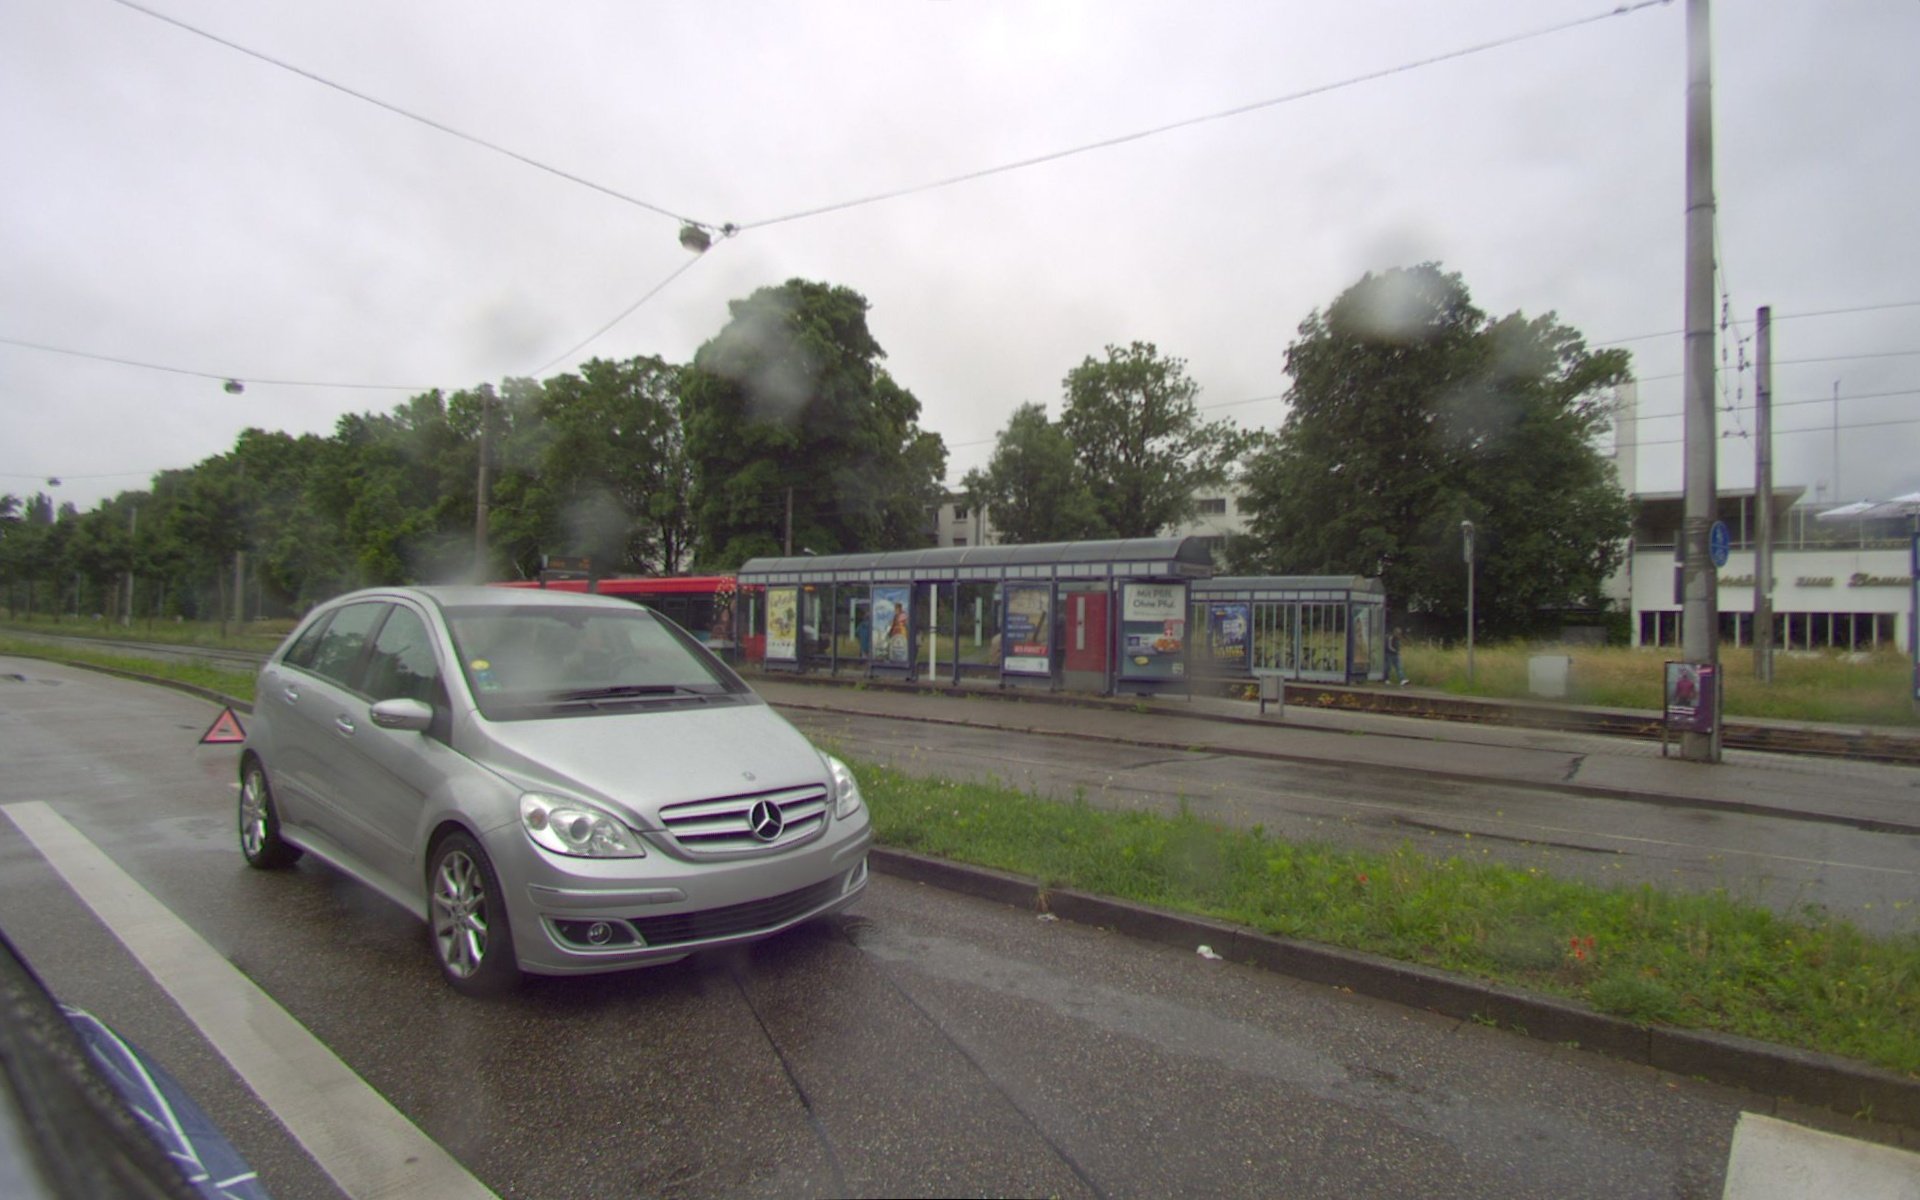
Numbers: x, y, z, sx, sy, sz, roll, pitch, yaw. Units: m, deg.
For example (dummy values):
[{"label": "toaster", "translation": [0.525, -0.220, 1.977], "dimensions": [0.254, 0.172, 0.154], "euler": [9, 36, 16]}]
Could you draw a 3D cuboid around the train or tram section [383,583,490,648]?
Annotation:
[{"label": "train or tram section", "translation": [-29.604, 0.909, 57.209], "dimensions": [5.768, 3.444, 3.495], "euler": [0, -3, 42]}]

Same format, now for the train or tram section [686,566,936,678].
[{"label": "train or tram section", "translation": [-5.428, 0.769, 35.369], "dimensions": [9.276, 3.415, 3.495], "euler": [0, -3, 42]}]

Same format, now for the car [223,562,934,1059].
[{"label": "car", "translation": [-2.178, 0.672, 5.160], "dimensions": [4.011, 1.556, 1.718], "euler": [0, -1, 41]}]

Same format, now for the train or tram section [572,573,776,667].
[{"label": "train or tram section", "translation": [-11.797, 0.808, 41.119], "dimensions": [9.276, 3.416, 3.495], "euler": [0, -3, 42]}]

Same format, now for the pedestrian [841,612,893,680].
[{"label": "pedestrian", "translation": [-2.234, 1.096, 24.341], "dimensions": [0.929, 1.609, 0.795], "euler": [0, -2, 44]}]

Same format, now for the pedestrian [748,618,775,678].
[{"label": "pedestrian", "translation": [-5.365, 1.281, 27.293], "dimensions": [0.514, 1.574, 0.603], "euler": [0, 0, -34]}]

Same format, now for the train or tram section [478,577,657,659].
[{"label": "train or tram section", "translation": [-18.464, 0.844, 47.151], "dimensions": [10.258, 3.427, 3.495], "euler": [0, -3, 42]}]

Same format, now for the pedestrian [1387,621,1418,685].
[{"label": "pedestrian", "translation": [12.710, 1.513, 29.078], "dimensions": [0.680, 1.806, 0.623], "euler": [0, 0, 40]}]

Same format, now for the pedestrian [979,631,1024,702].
[{"label": "pedestrian", "translation": [0.881, 1.397, 21.399], "dimensions": [0.699, 1.464, 0.618], "euler": [-1, -3, 43]}]

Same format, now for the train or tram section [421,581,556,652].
[{"label": "train or tram section", "translation": [-24.661, 0.870, 52.751], "dimensions": [7.901, 3.438, 3.495], "euler": [0, -3, 42]}]
